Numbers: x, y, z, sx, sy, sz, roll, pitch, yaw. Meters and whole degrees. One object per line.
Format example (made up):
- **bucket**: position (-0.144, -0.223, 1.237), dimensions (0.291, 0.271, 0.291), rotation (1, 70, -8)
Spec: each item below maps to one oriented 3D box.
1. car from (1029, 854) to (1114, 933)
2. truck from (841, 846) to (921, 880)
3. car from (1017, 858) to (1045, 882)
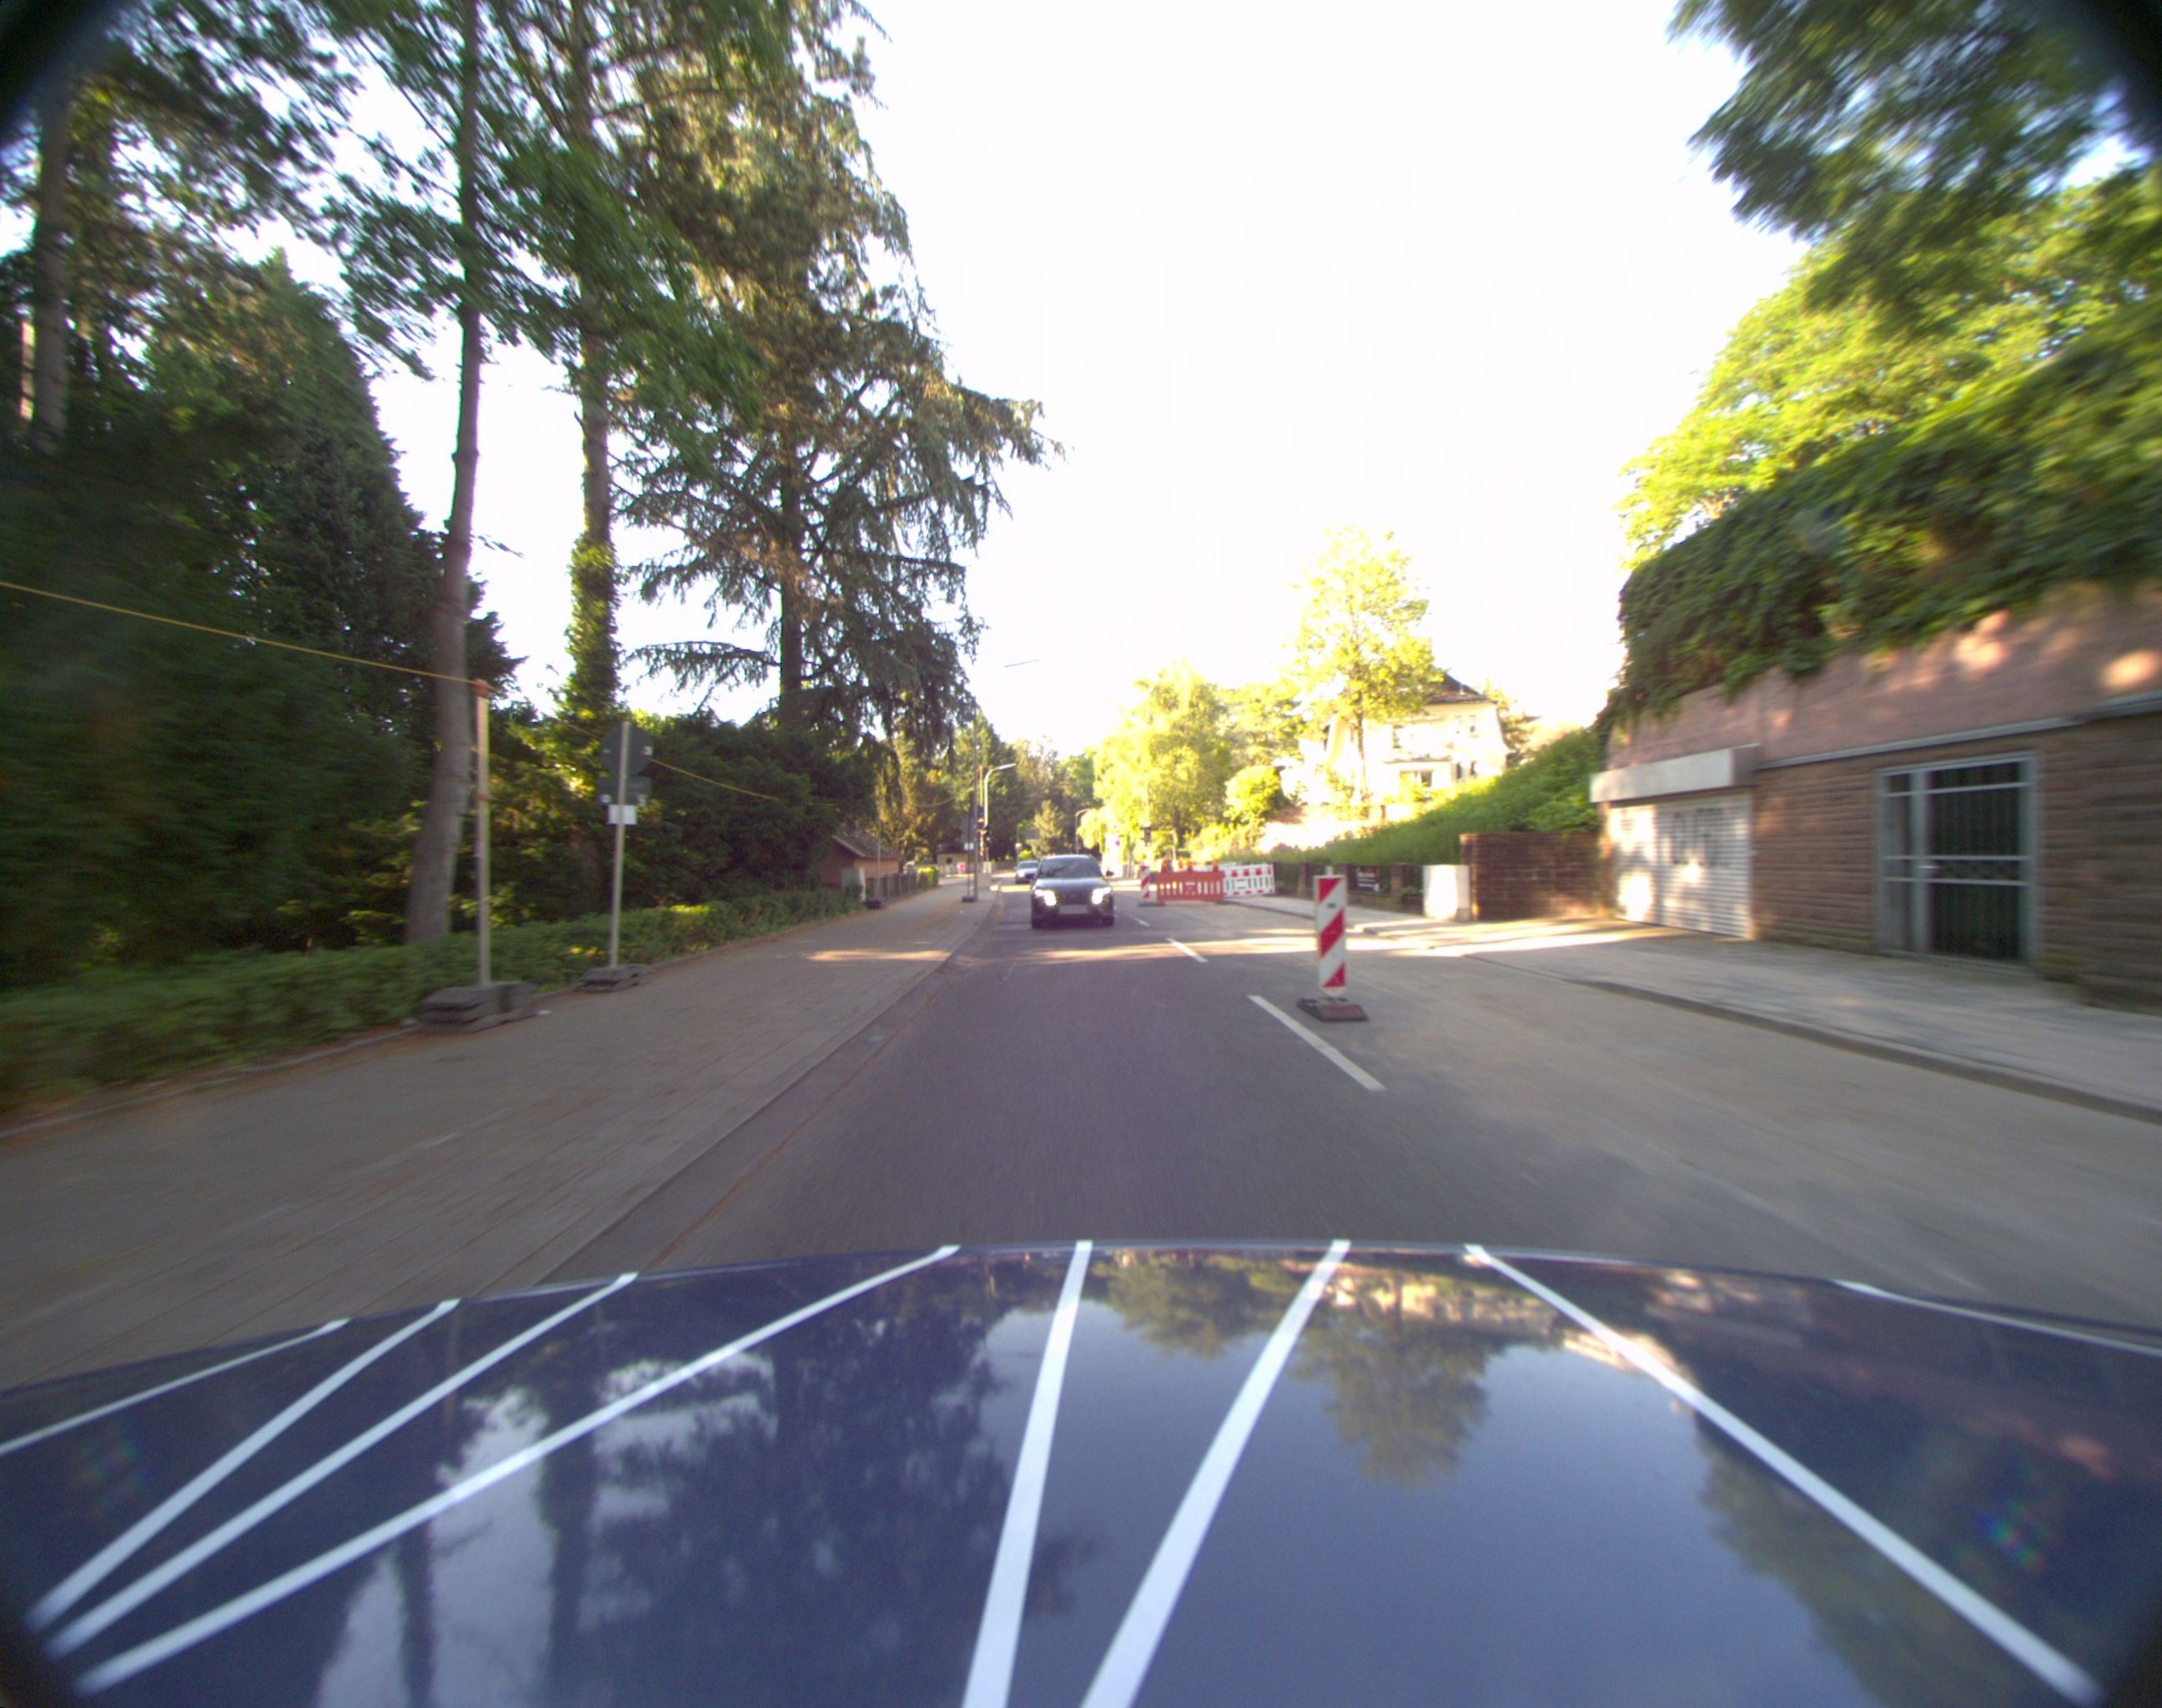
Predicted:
- **car**: position (-0.356, 0.864, 18.450), dimensions (1.789, 1.639, 4.473), rotation (-1, 0, -4)
- **truck**: position (-17.936, 0.804, 68.336), dimensions (6.499, 2.736, 2.373), rotation (-3, 1, 16)
- **car**: position (-3.309, 1.023, 49.535), dimensions (1.663, 1.468, 3.681), rotation (-2, 0, -6)
